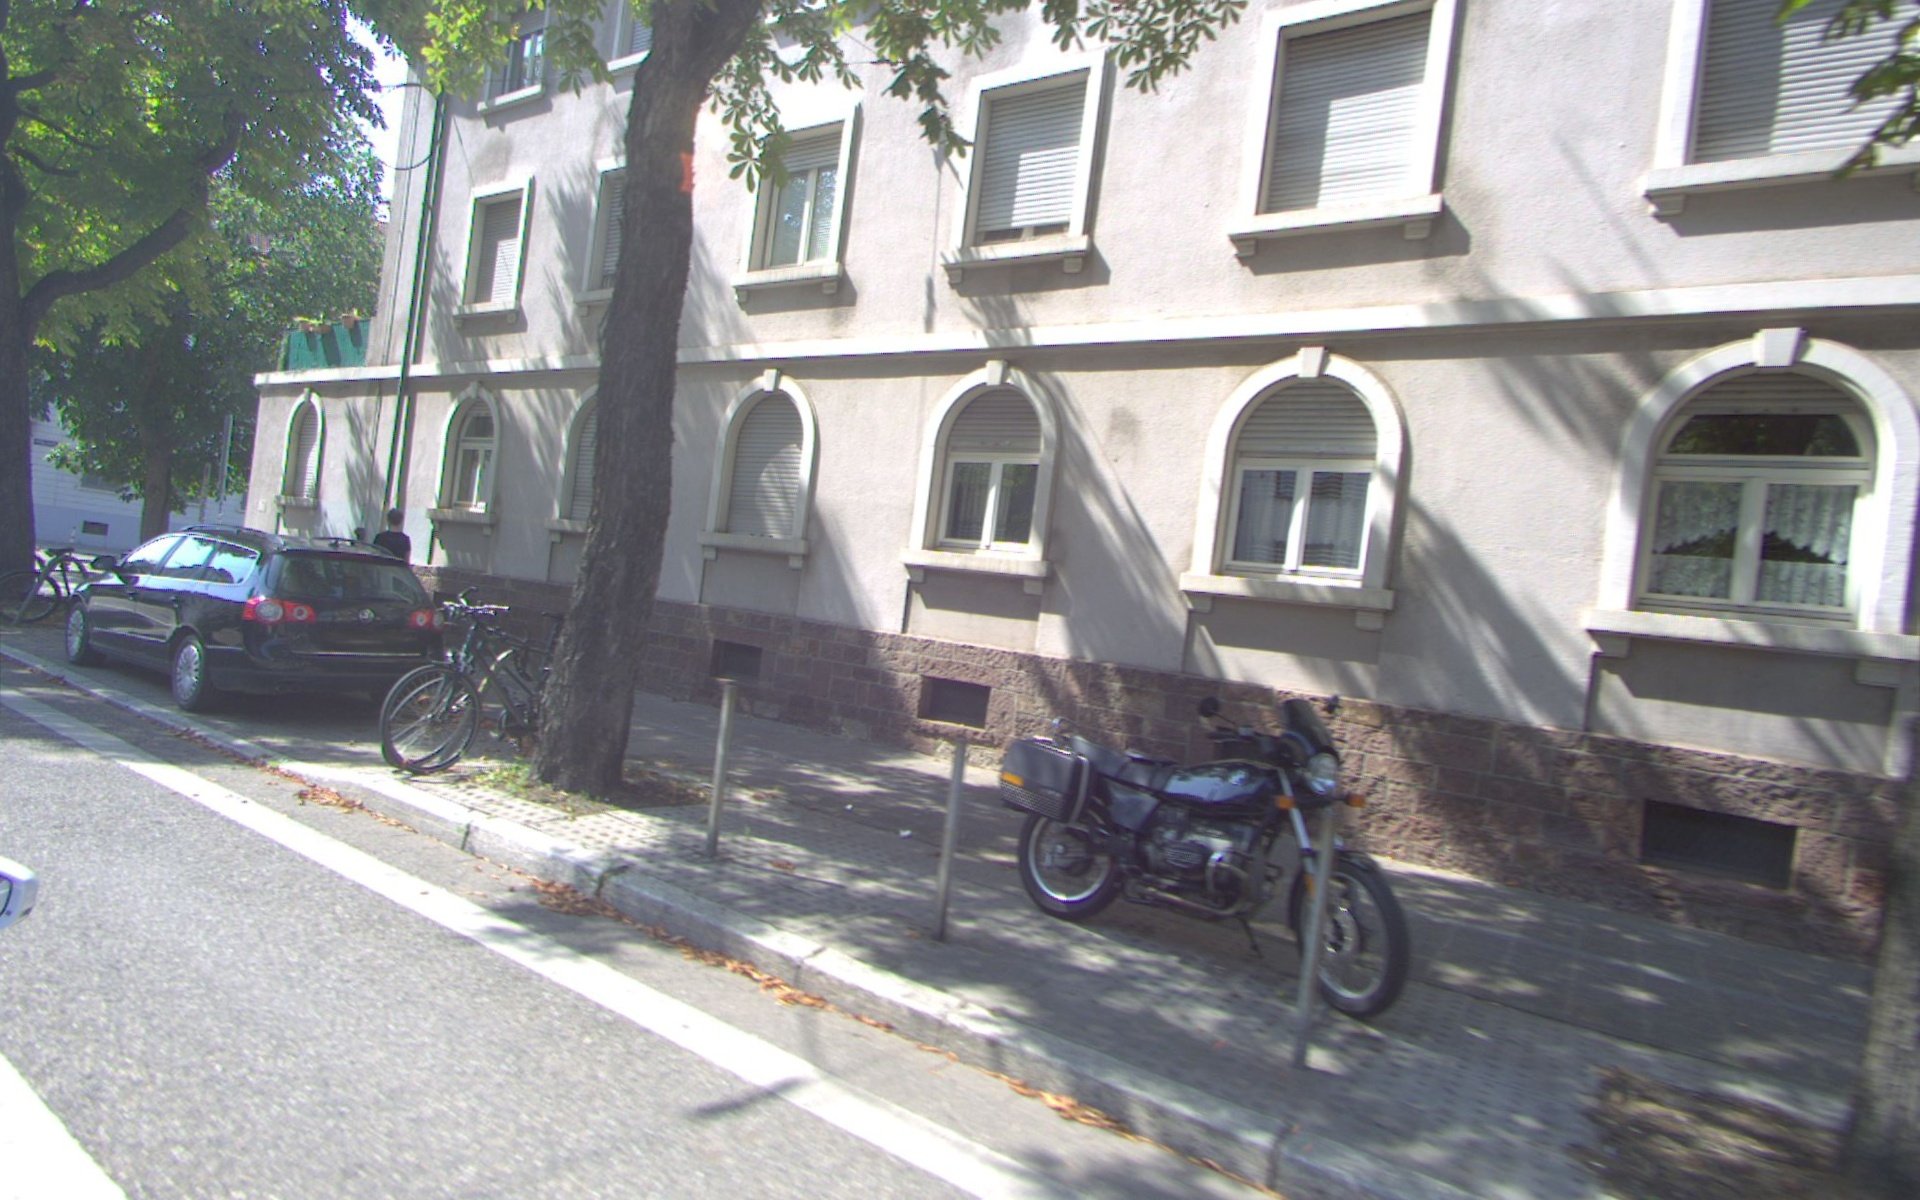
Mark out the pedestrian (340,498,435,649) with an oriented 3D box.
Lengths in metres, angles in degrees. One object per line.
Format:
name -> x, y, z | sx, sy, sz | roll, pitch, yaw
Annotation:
pedestrian -> -7.735, -0.352, 13.598 | 0.703, 1.914, 0.707 | 6, 0, 35

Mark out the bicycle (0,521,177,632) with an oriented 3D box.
bicycle -> -10.689, -0.265, 12.231 | 0.371, 1.150, 1.721 | 7, -1, 39

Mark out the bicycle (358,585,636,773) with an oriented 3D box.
bicycle -> -3.082, 0.561, 6.847 | 0.393, 1.117, 1.605 | 7, -1, 39

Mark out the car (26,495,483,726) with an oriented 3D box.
car -> -6.786, 0.007, 9.508 | 4.702, 1.551, 1.842 | 6, 0, 33

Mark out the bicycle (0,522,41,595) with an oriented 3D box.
bicycle -> -14.743, -0.690, 14.751 | 0.557, 1.044, 1.714 | 6, -1, 34

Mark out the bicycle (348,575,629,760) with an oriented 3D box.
bicycle -> -3.297, 0.518, 7.195 | 0.371, 1.163, 1.722 | 7, -1, 39

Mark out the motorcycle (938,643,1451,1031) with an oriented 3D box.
motorcycle -> 1.054, 0.981, 4.802 | 2.141, 1.270, 0.711 | 7, -1, 32
